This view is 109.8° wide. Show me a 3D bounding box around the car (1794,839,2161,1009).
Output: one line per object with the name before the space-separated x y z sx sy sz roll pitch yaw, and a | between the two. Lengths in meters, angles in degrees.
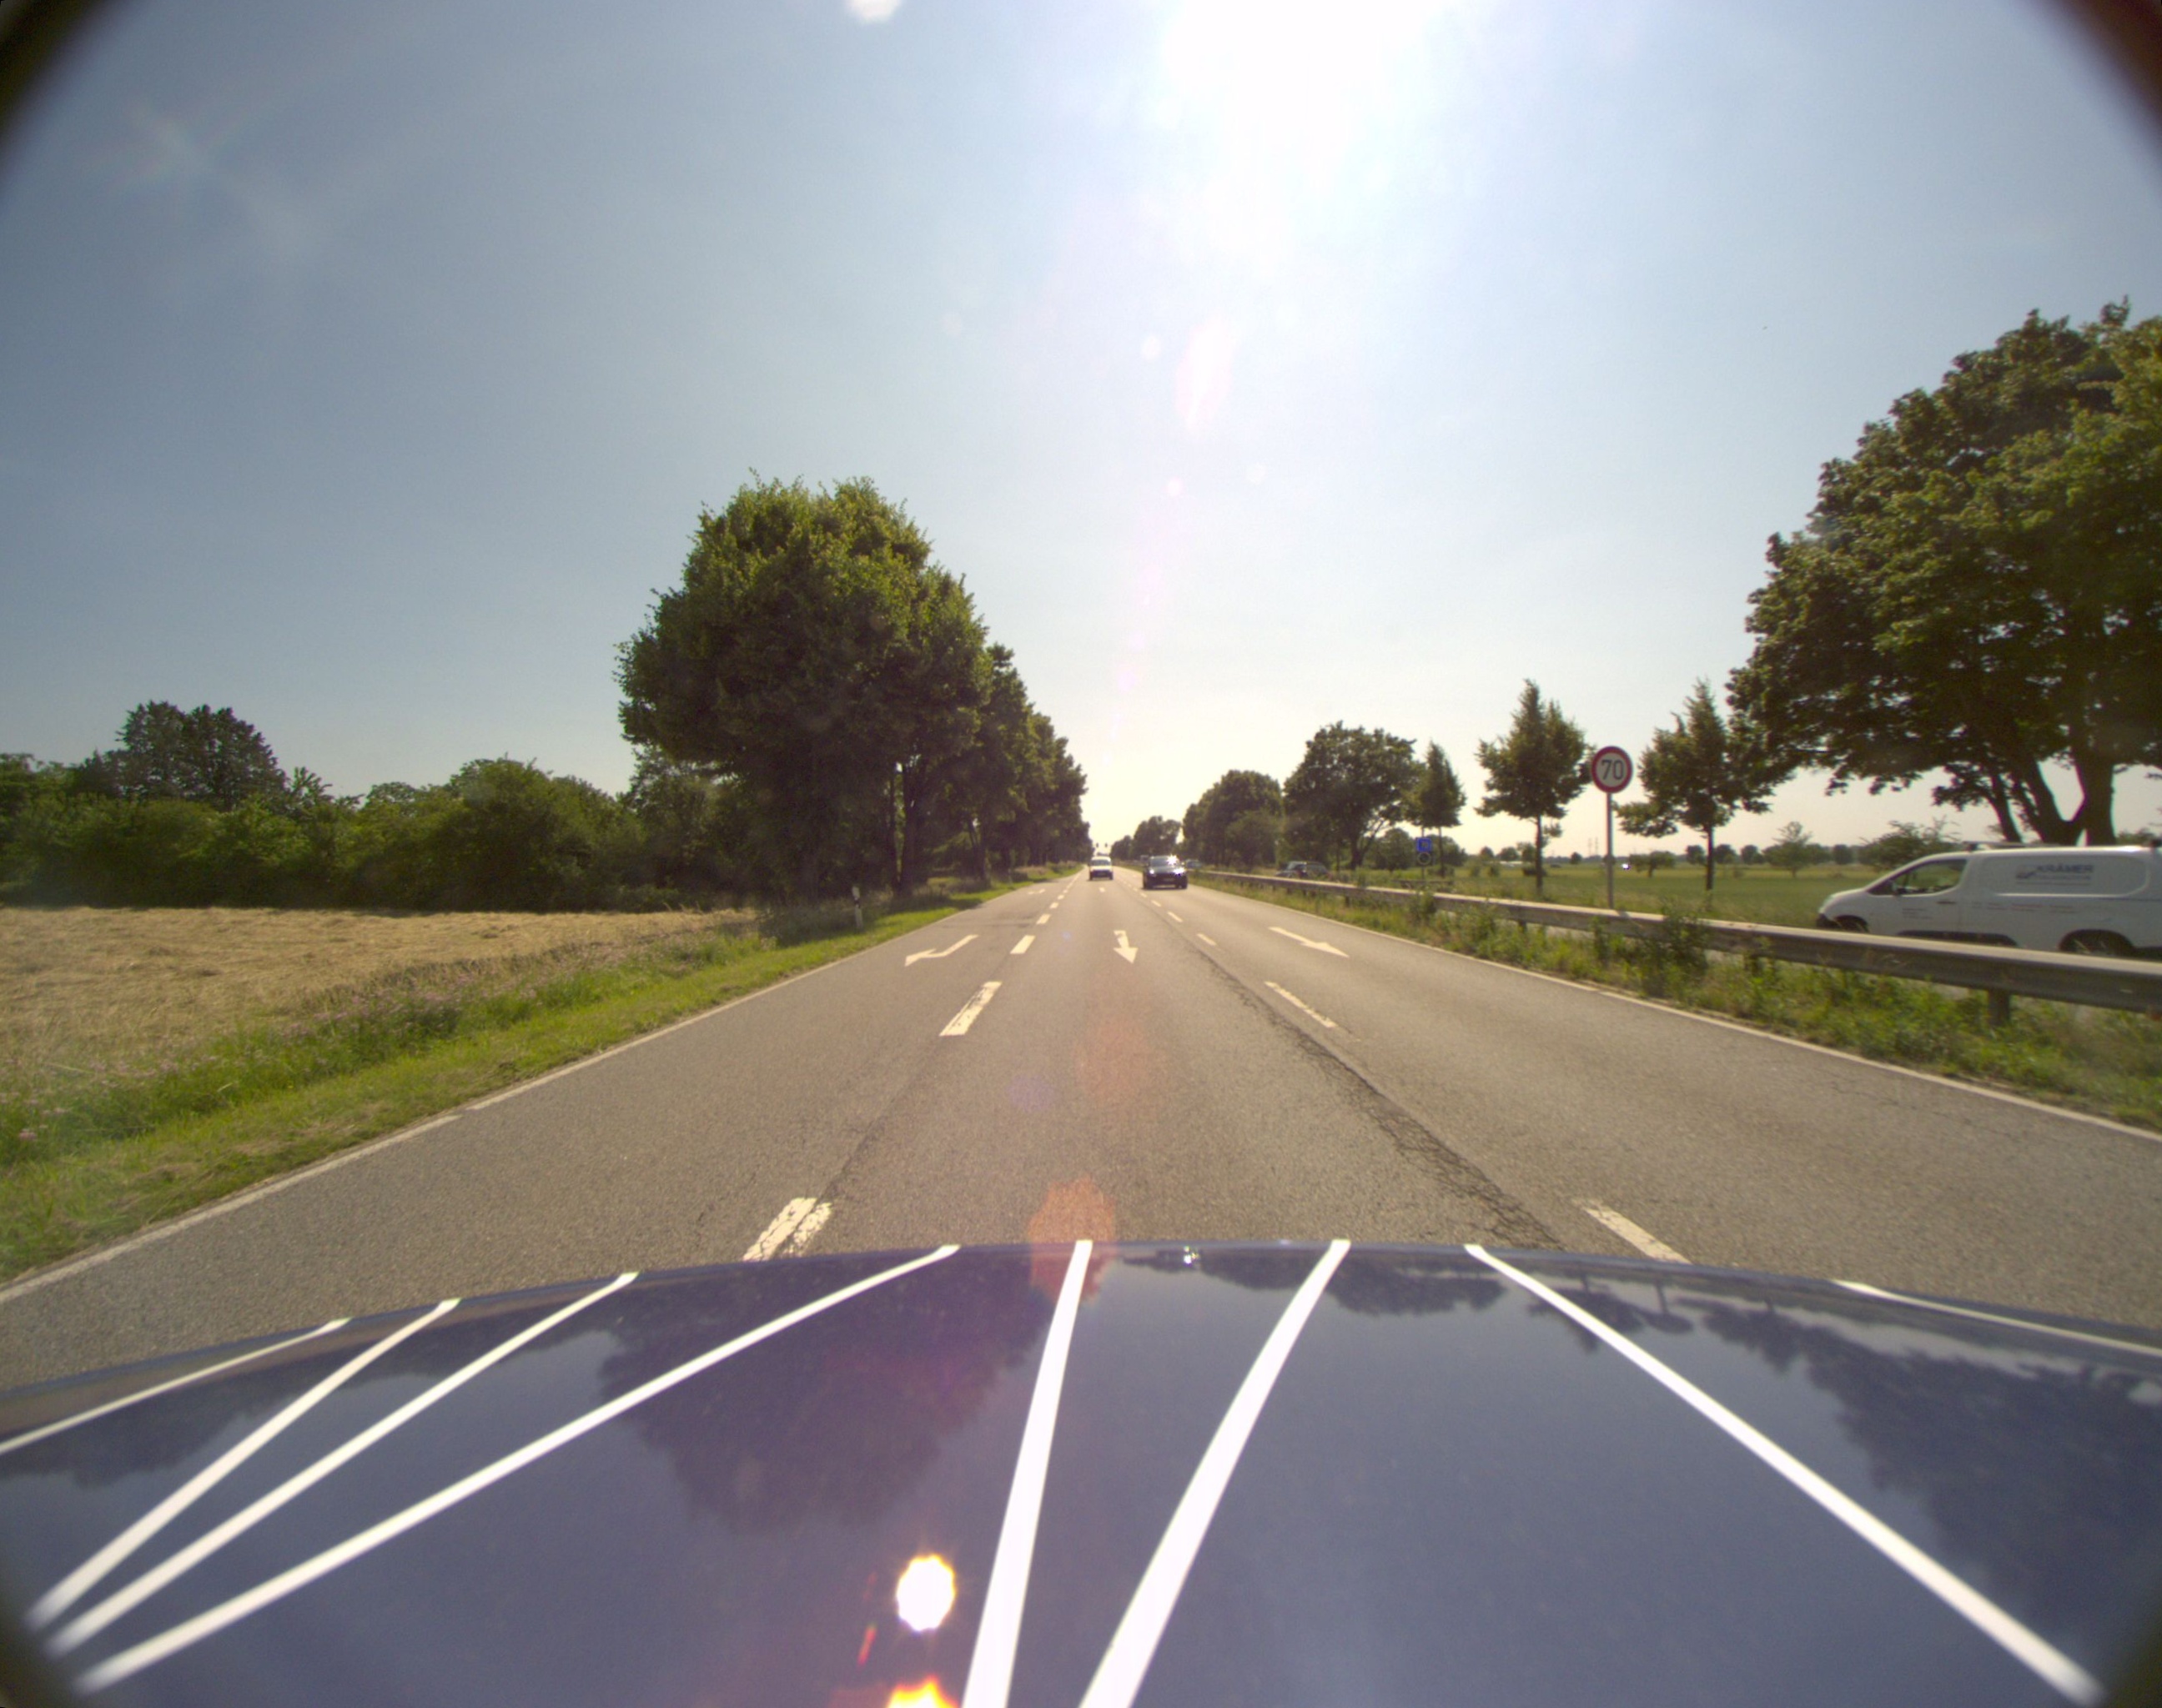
car | 13.347 0.793 10.758 1.998 1.940 4.830 0 0 0

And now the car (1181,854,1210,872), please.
car | 10.696 0.824 71.252 1.998 1.653 4.480 0 0 0

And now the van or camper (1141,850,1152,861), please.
van or camper | 17.091 0.398 198.917 2.391 2.931 7.092 0 0 1

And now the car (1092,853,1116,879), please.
car | 1.681 0.881 56.775 1.777 1.863 4.581 0 0 1

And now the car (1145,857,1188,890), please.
car | 4.204 0.929 37.828 1.860 1.507 4.101 -1 0 3

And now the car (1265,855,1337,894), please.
car | 9.776 0.866 34.146 1.998 1.594 4.480 0 0 0

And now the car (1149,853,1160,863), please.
car | 16.142 0.873 167.066 2.043 2.002 4.532 0 0 0

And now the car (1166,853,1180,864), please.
car | 16.240 0.799 134.493 1.998 1.949 4.927 0 0 0

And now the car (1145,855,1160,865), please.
car | 11.652 1.008 124.453 1.998 1.547 4.480 0 0 0

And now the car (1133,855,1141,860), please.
car | 17.833 1.086 242.460 1.960 1.581 4.865 0 0 0
